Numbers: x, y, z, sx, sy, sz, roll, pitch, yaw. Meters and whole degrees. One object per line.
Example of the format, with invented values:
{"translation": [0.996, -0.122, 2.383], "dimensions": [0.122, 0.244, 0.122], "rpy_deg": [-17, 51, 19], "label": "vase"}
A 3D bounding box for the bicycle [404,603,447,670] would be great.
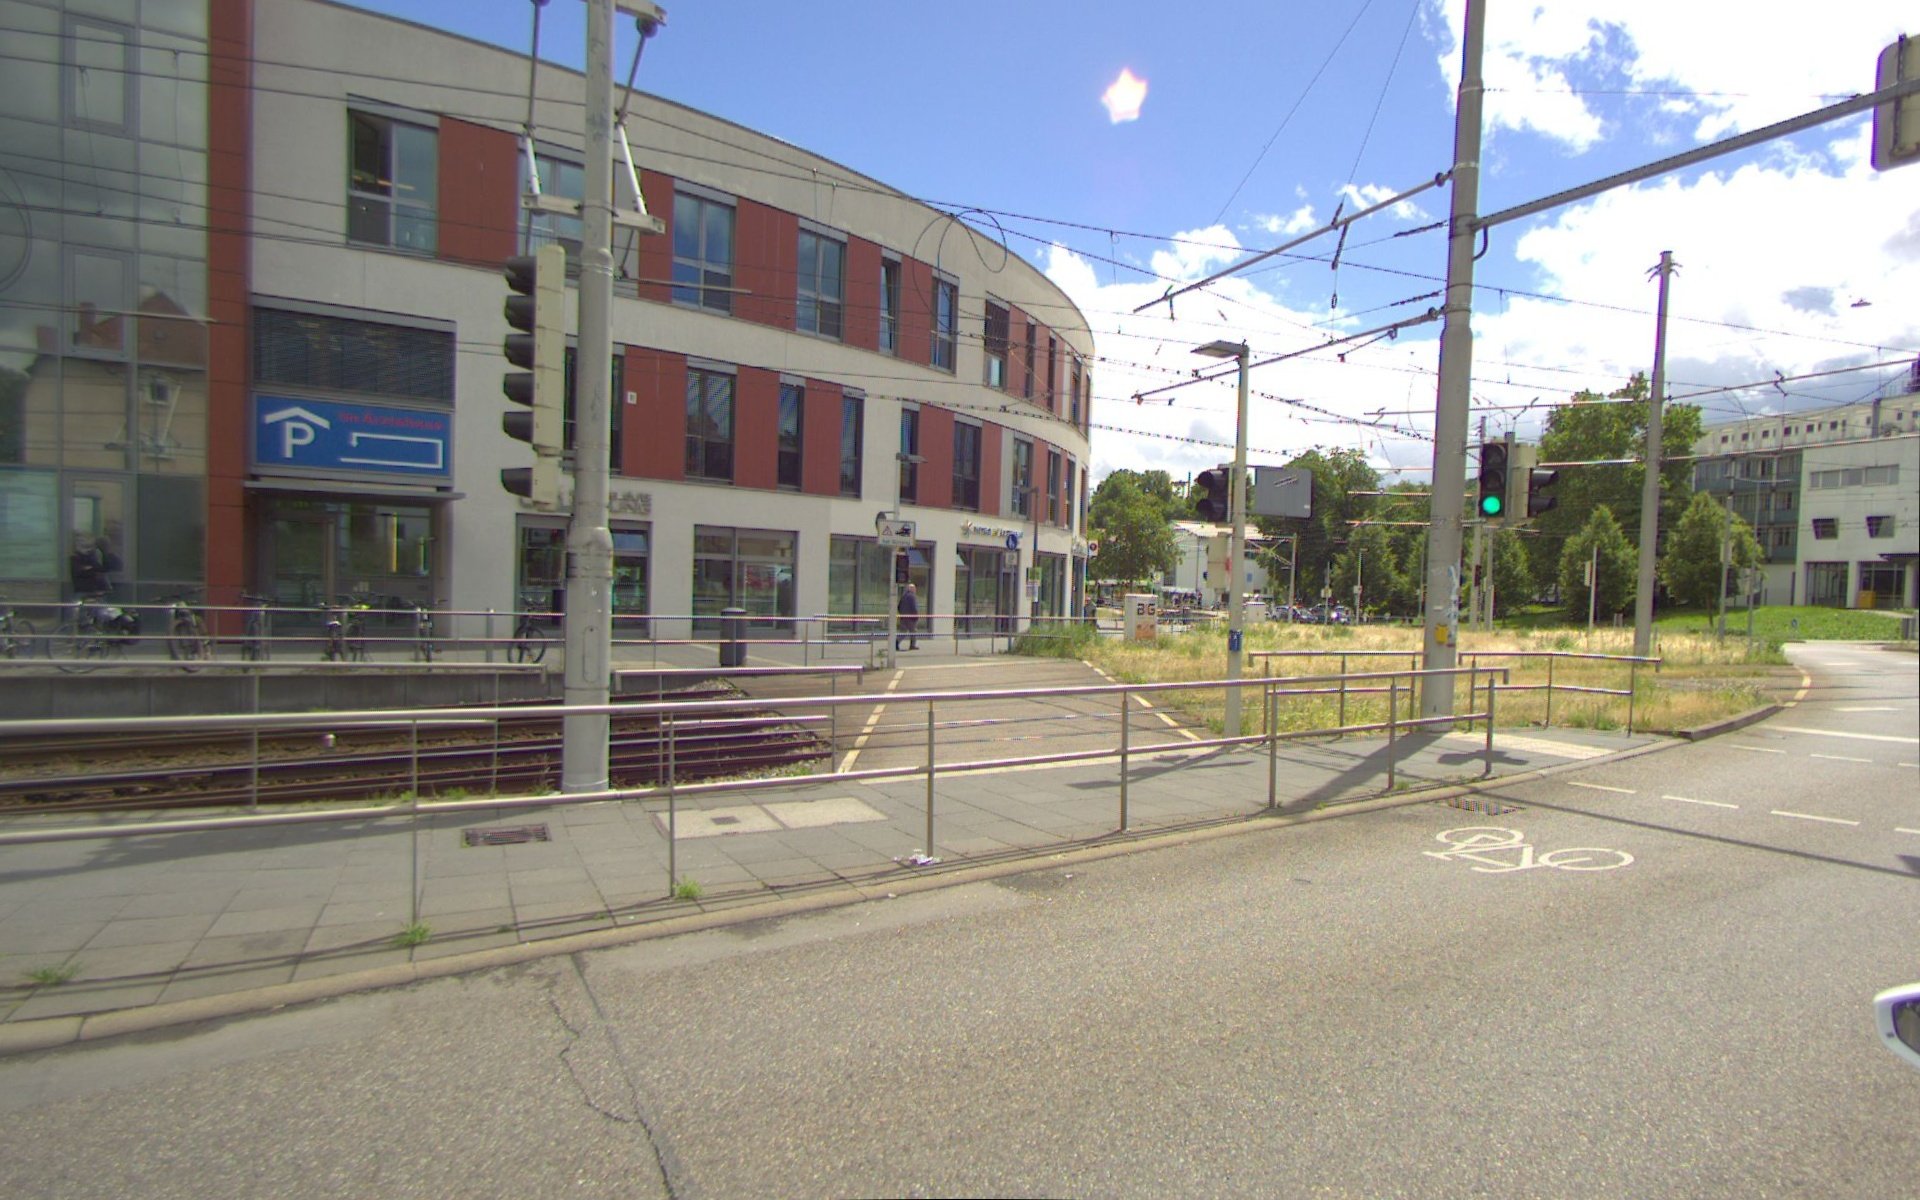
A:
{"translation": [-8.400, 0.547, 15.830], "dimensions": [0.448, 0.948, 1.852], "rpy_deg": [2, 1, -24], "label": "bicycle"}

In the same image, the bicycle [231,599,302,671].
{"translation": [-10.160, 0.483, 14.757], "dimensions": [0.448, 0.952, 1.853], "rpy_deg": [2, 1, -22], "label": "bicycle"}

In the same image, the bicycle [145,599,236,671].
{"translation": [-10.949, 0.467, 14.345], "dimensions": [0.447, 0.934, 1.855], "rpy_deg": [2, 1, -19], "label": "bicycle"}

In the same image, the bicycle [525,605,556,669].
{"translation": [-6.986, 0.599, 16.693], "dimensions": [0.422, 0.965, 1.731], "rpy_deg": [2, 1, -24], "label": "bicycle"}

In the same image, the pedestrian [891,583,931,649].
{"translation": [-1.218, 0.380, 24.991], "dimensions": [0.725, 1.601, 0.687], "rpy_deg": [2, 1, 45], "label": "pedestrian"}

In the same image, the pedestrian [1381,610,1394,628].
{"translation": [39.753, 1.761, 93.379], "dimensions": [0.829, 1.597, 0.812], "rpy_deg": [0, 1, -20], "label": "pedestrian"}

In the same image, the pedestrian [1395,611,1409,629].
{"translation": [39.482, 1.809, 89.743], "dimensions": [0.829, 1.597, 0.811], "rpy_deg": [0, 1, -22], "label": "pedestrian"}

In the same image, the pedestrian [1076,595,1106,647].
{"translation": [5.167, 0.824, 39.564], "dimensions": [0.848, 1.995, 1.115], "rpy_deg": [1, 0, 24], "label": "pedestrian"}

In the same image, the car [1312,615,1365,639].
{"translation": [31.196, 2.224, 82.979], "dimensions": [1.990, 1.814, 4.225], "rpy_deg": [1, -1, -16], "label": "car"}

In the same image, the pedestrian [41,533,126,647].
{"translation": [-14.983, -0.166, 17.175], "dimensions": [0.865, 1.870, 0.862], "rpy_deg": [3, 1, 34], "label": "pedestrian"}

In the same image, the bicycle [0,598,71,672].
{"translation": [-12.628, 0.446, 13.387], "dimensions": [0.447, 0.893, 1.856], "rpy_deg": [2, 1, -18], "label": "bicycle"}

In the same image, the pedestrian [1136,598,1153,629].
{"translation": [10.083, 0.716, 54.826], "dimensions": [0.847, 1.647, 0.733], "rpy_deg": [1, 0, 10], "label": "pedestrian"}

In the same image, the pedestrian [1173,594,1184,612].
{"translation": [19.970, 0.277, 91.933], "dimensions": [0.743, 1.707, 0.672], "rpy_deg": [1, 1, -13], "label": "pedestrian"}

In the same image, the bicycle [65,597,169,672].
{"translation": [-11.678, 0.444, 13.974], "dimensions": [0.447, 0.944, 1.856], "rpy_deg": [2, 1, -19], "label": "bicycle"}

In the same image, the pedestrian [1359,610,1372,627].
{"translation": [38.621, 1.765, 95.697], "dimensions": [0.829, 1.597, 0.811], "rpy_deg": [0, 1, -22], "label": "pedestrian"}

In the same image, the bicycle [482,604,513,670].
{"translation": [-7.529, 0.579, 16.383], "dimensions": [0.422, 0.970, 1.731], "rpy_deg": [2, 1, -24], "label": "bicycle"}

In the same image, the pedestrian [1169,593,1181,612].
{"translation": [19.519, 0.221, 91.221], "dimensions": [0.823, 1.777, 0.796], "rpy_deg": [1, 1, -13], "label": "pedestrian"}

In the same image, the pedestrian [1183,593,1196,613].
{"translation": [20.658, 0.254, 90.457], "dimensions": [0.823, 1.755, 0.796], "rpy_deg": [1, 1, -13], "label": "pedestrian"}

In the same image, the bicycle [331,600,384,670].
{"translation": [-9.224, 0.506, 15.421], "dimensions": [0.448, 0.976, 1.852], "rpy_deg": [2, 1, -24], "label": "bicycle"}

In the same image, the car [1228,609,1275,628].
{"translation": [25.933, 1.639, 89.538], "dimensions": [1.907, 1.576, 4.477], "rpy_deg": [2, -1, -16], "label": "car"}

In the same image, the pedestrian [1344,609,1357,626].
{"translation": [37.893, 1.669, 97.436], "dimensions": [0.829, 1.597, 0.811], "rpy_deg": [0, 1, -22], "label": "pedestrian"}

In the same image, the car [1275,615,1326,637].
{"translation": [28.119, 2.142, 83.112], "dimensions": [1.887, 1.672, 4.241], "rpy_deg": [2, -1, -16], "label": "car"}
